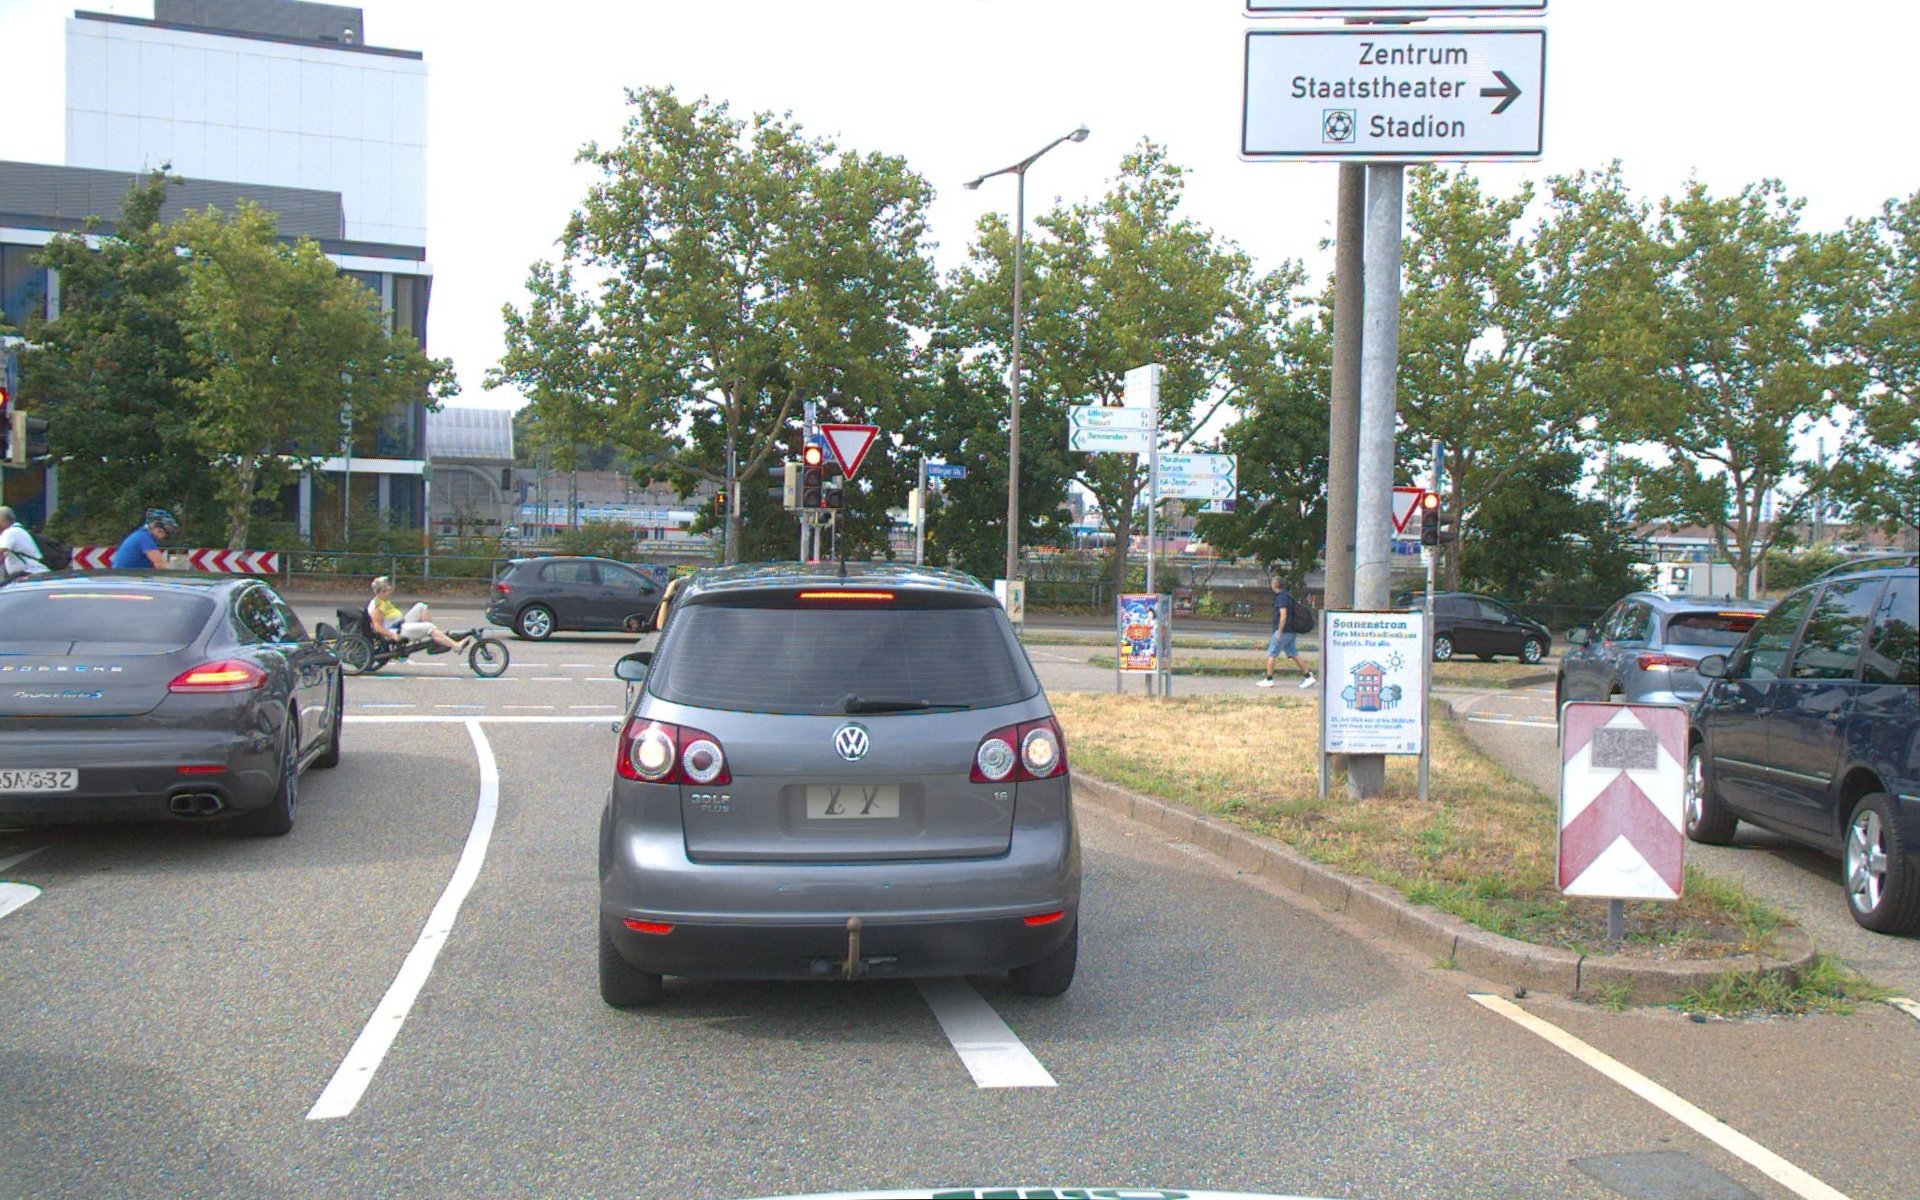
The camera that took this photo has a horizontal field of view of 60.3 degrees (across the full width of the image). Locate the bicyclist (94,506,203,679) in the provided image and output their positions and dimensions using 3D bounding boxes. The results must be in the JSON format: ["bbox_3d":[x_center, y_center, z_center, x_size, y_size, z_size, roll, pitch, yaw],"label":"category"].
[{"bbox_3d":[-8.130,-0.078,16.611,0.867,1.685,0.807,1,1,-19],"label":"bicyclist"}]

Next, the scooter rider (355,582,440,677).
[{"bbox_3d":[-7.097,0.367,20.903,0.897,1.157,0.806,1,1,-11],"label":"scooter rider"}]

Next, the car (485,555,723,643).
[{"bbox_3d":[-6.396,-0.020,29.654,3.996,1.476,1.693,1,1,-20],"label":"car"}]

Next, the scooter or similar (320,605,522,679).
[{"bbox_3d":[-6.785,0.528,20.951,2.336,0.864,0.806,1,1,-12],"label":"scooter or similar"}]

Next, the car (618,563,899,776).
[{"bbox_3d":[-1.838,0.476,13.907,1.713,1.508,4.064,1,1,-16],"label":"car"}]

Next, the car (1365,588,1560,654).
[{"bbox_3d":[11.099,0.460,36.514,4.003,1.391,1.690,1,1,-24],"label":"car"}]

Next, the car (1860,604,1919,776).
[{"bbox_3d":[10.132,0.920,15.480,1.713,1.671,4.141,3,0,10],"label":"car"}]

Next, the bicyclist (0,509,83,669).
[{"bbox_3d":[-10.317,-0.126,18.220,1.098,1.726,0.807,1,1,-25],"label":"bicyclist"}]

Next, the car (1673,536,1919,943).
[{"bbox_3d":[5.261,0.646,8.680,1.713,1.754,4.141,3,0,9],"label":"car"}]

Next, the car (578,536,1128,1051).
[{"bbox_3d":[-0.610,0.581,7.208,1.709,1.573,4.074,1,0,-9],"label":"car"}]

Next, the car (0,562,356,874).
[{"bbox_3d":[-4.850,0.515,10.109,1.789,1.438,4.756,1,1,-16],"label":"car"}]

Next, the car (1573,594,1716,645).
[{"bbox_3d":[20.624,0.586,49.830,3.894,1.473,1.692,1,1,-21],"label":"car"}]

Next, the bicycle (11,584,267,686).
[{"bbox_3d":[-8.175,0.338,16.585,2.195,0.969,0.807,1,1,-20],"label":"bicycle"}]

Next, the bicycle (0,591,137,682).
[{"bbox_3d":[-10.325,0.394,18.226,2.199,0.969,0.805,0,1,-25],"label":"bicycle"}]

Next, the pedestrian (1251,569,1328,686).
[{"bbox_3d":[5.097,0.412,25.543,1.025,1.740,0.854,2,1,17],"label":"pedestrian"}]

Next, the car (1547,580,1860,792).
[{"bbox_3d":[6.733,0.695,15.439,1.655,1.613,4.160,3,0,11],"label":"car"}]
